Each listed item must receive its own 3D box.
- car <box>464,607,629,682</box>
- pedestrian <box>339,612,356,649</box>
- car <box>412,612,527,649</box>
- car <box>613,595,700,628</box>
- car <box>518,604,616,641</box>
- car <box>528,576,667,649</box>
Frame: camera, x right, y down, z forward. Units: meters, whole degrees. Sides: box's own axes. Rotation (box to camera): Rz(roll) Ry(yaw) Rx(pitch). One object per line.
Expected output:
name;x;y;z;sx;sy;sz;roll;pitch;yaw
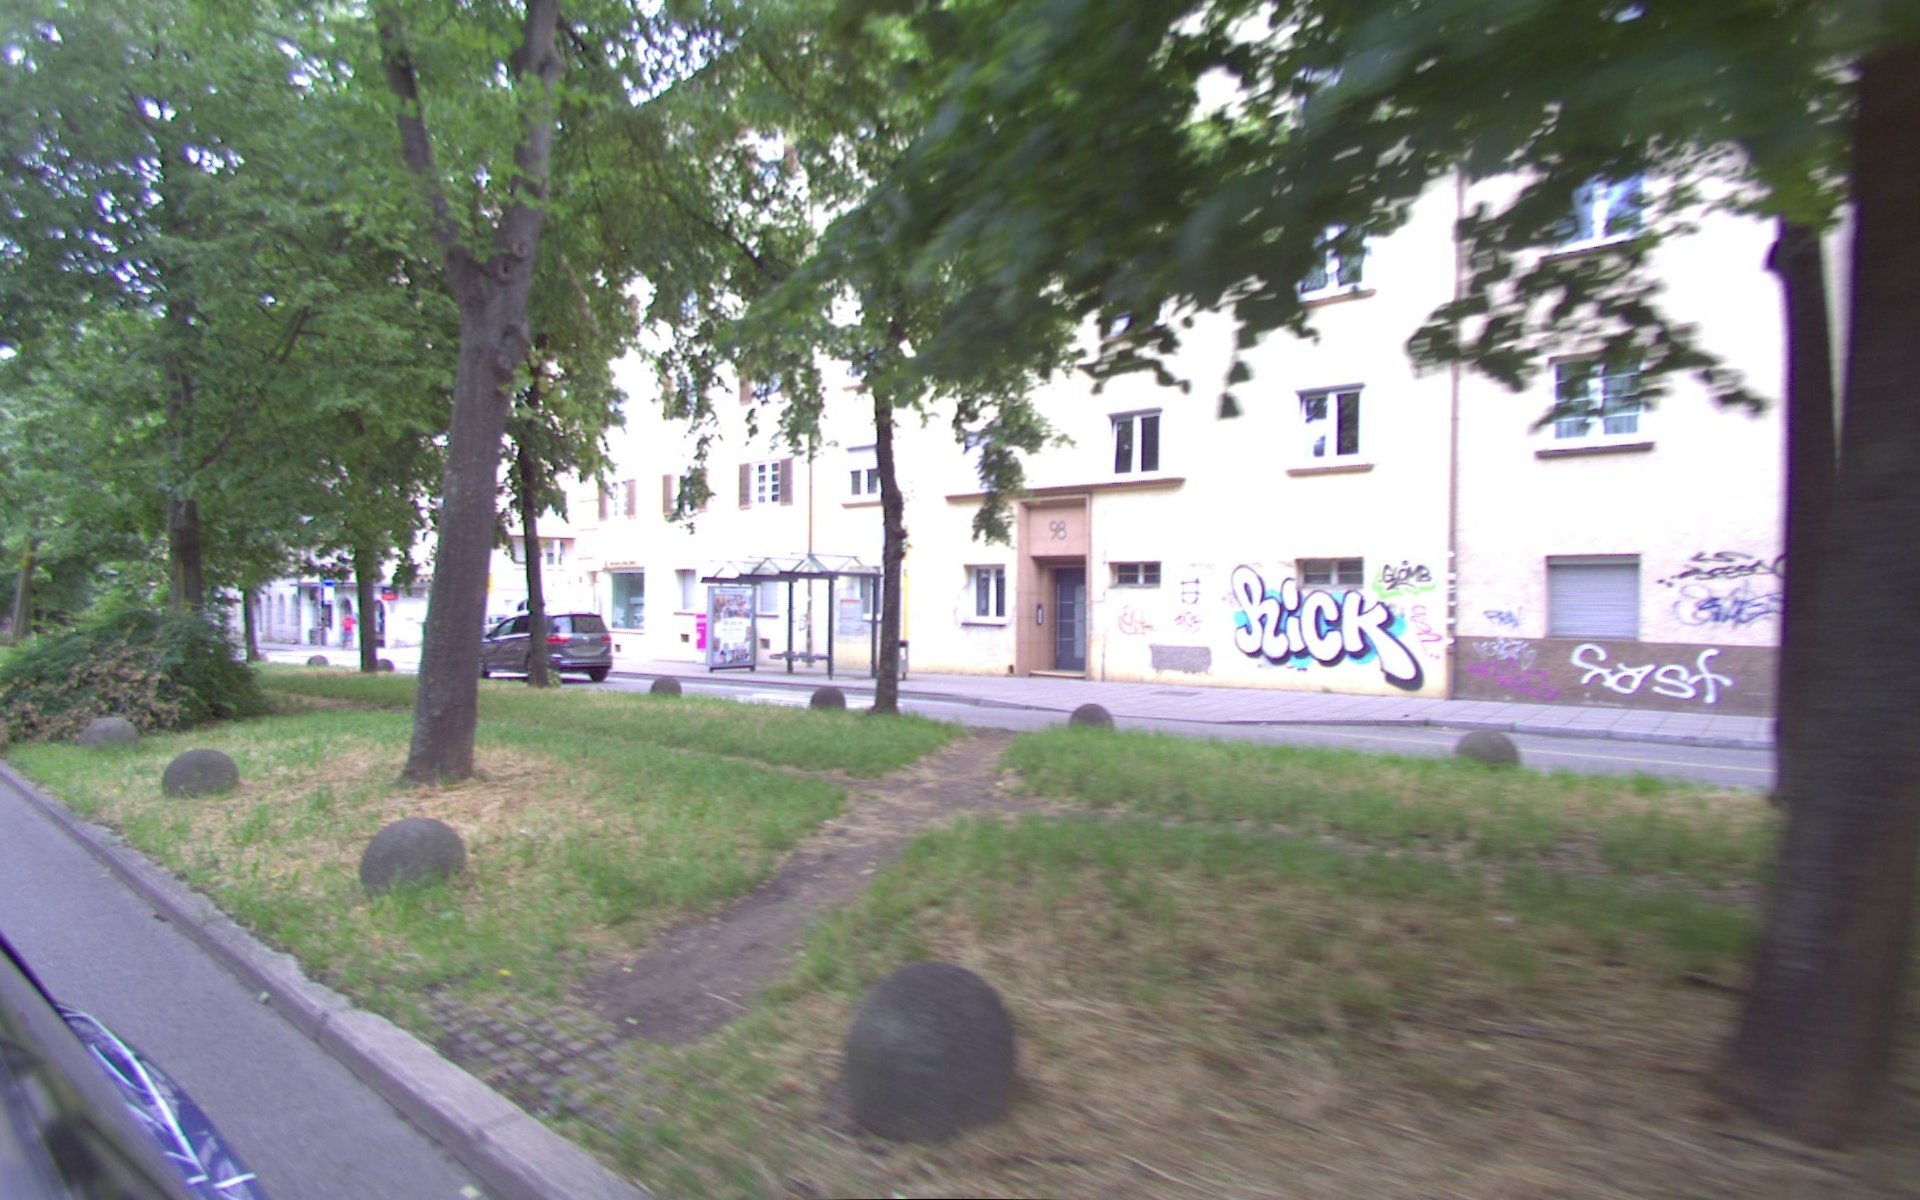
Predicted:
car;-9.980;1.033;24.273;4.363;1.641;1.928;-1;-2;41
pedestrian;-28.335;1.413;46.823;0.701;1.679;0.526;-1;-2;44
car;-22.326;1.364;46.160;2.048;1.430;4.241;-2;1;43
car;-16.104;0.580;53.767;1.902;1.430;3.991;-1;3;40
car;-19.235;1.055;49.618;1.997;1.430;3.951;-1;4;38
car;-14.717;0.470;41.408;2.169;2.757;5.136;-1;0;30
